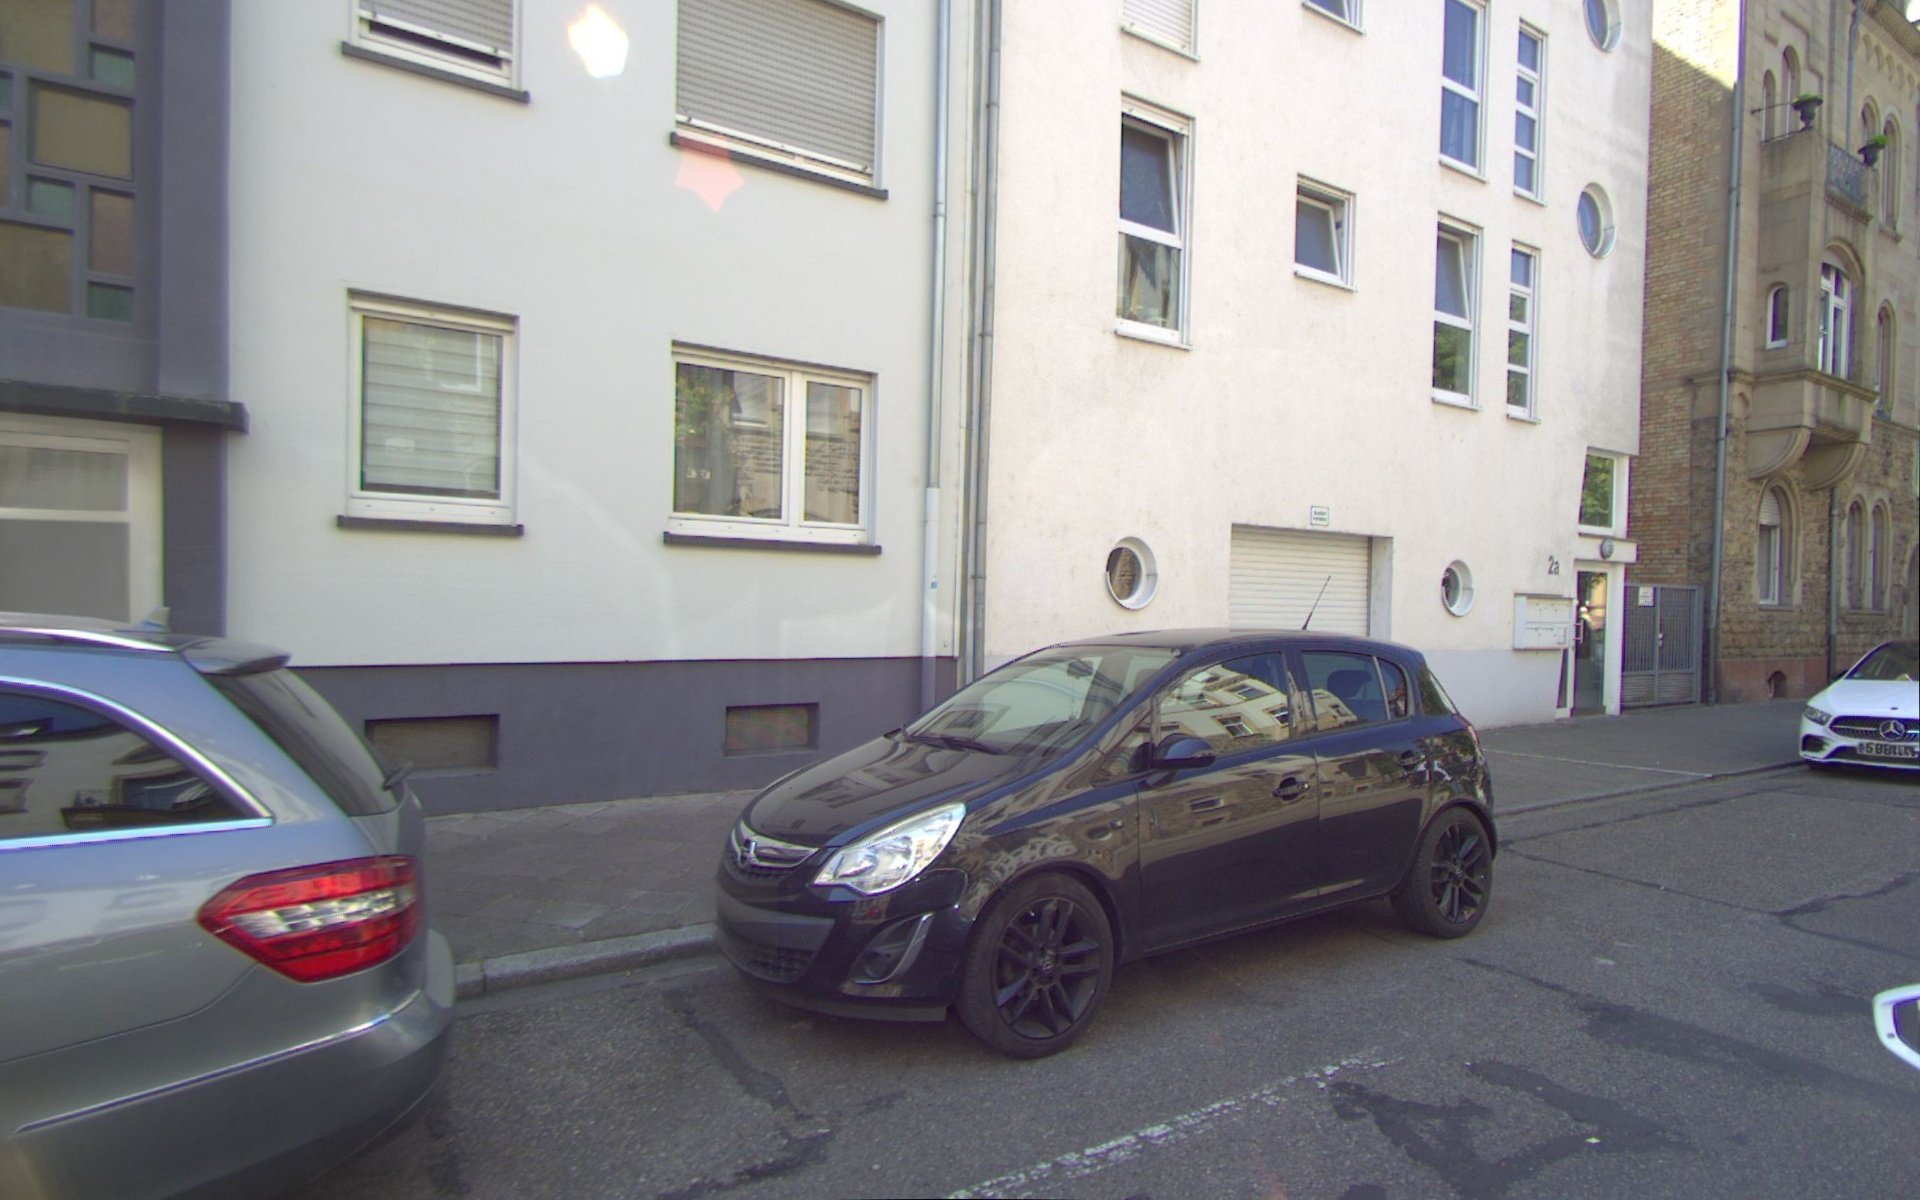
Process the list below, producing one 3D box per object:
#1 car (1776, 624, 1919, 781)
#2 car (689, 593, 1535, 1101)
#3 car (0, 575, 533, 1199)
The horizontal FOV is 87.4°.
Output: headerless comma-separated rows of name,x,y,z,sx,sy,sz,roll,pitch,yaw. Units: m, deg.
car,10.703,1.027,10.862,4.234,1.479,1.766,2,-2,-34
car,0.865,0.803,4.708,3.851,1.511,1.559,2,-2,-32
car,-3.331,0.718,1.681,4.620,1.538,1.647,2,-2,-32
